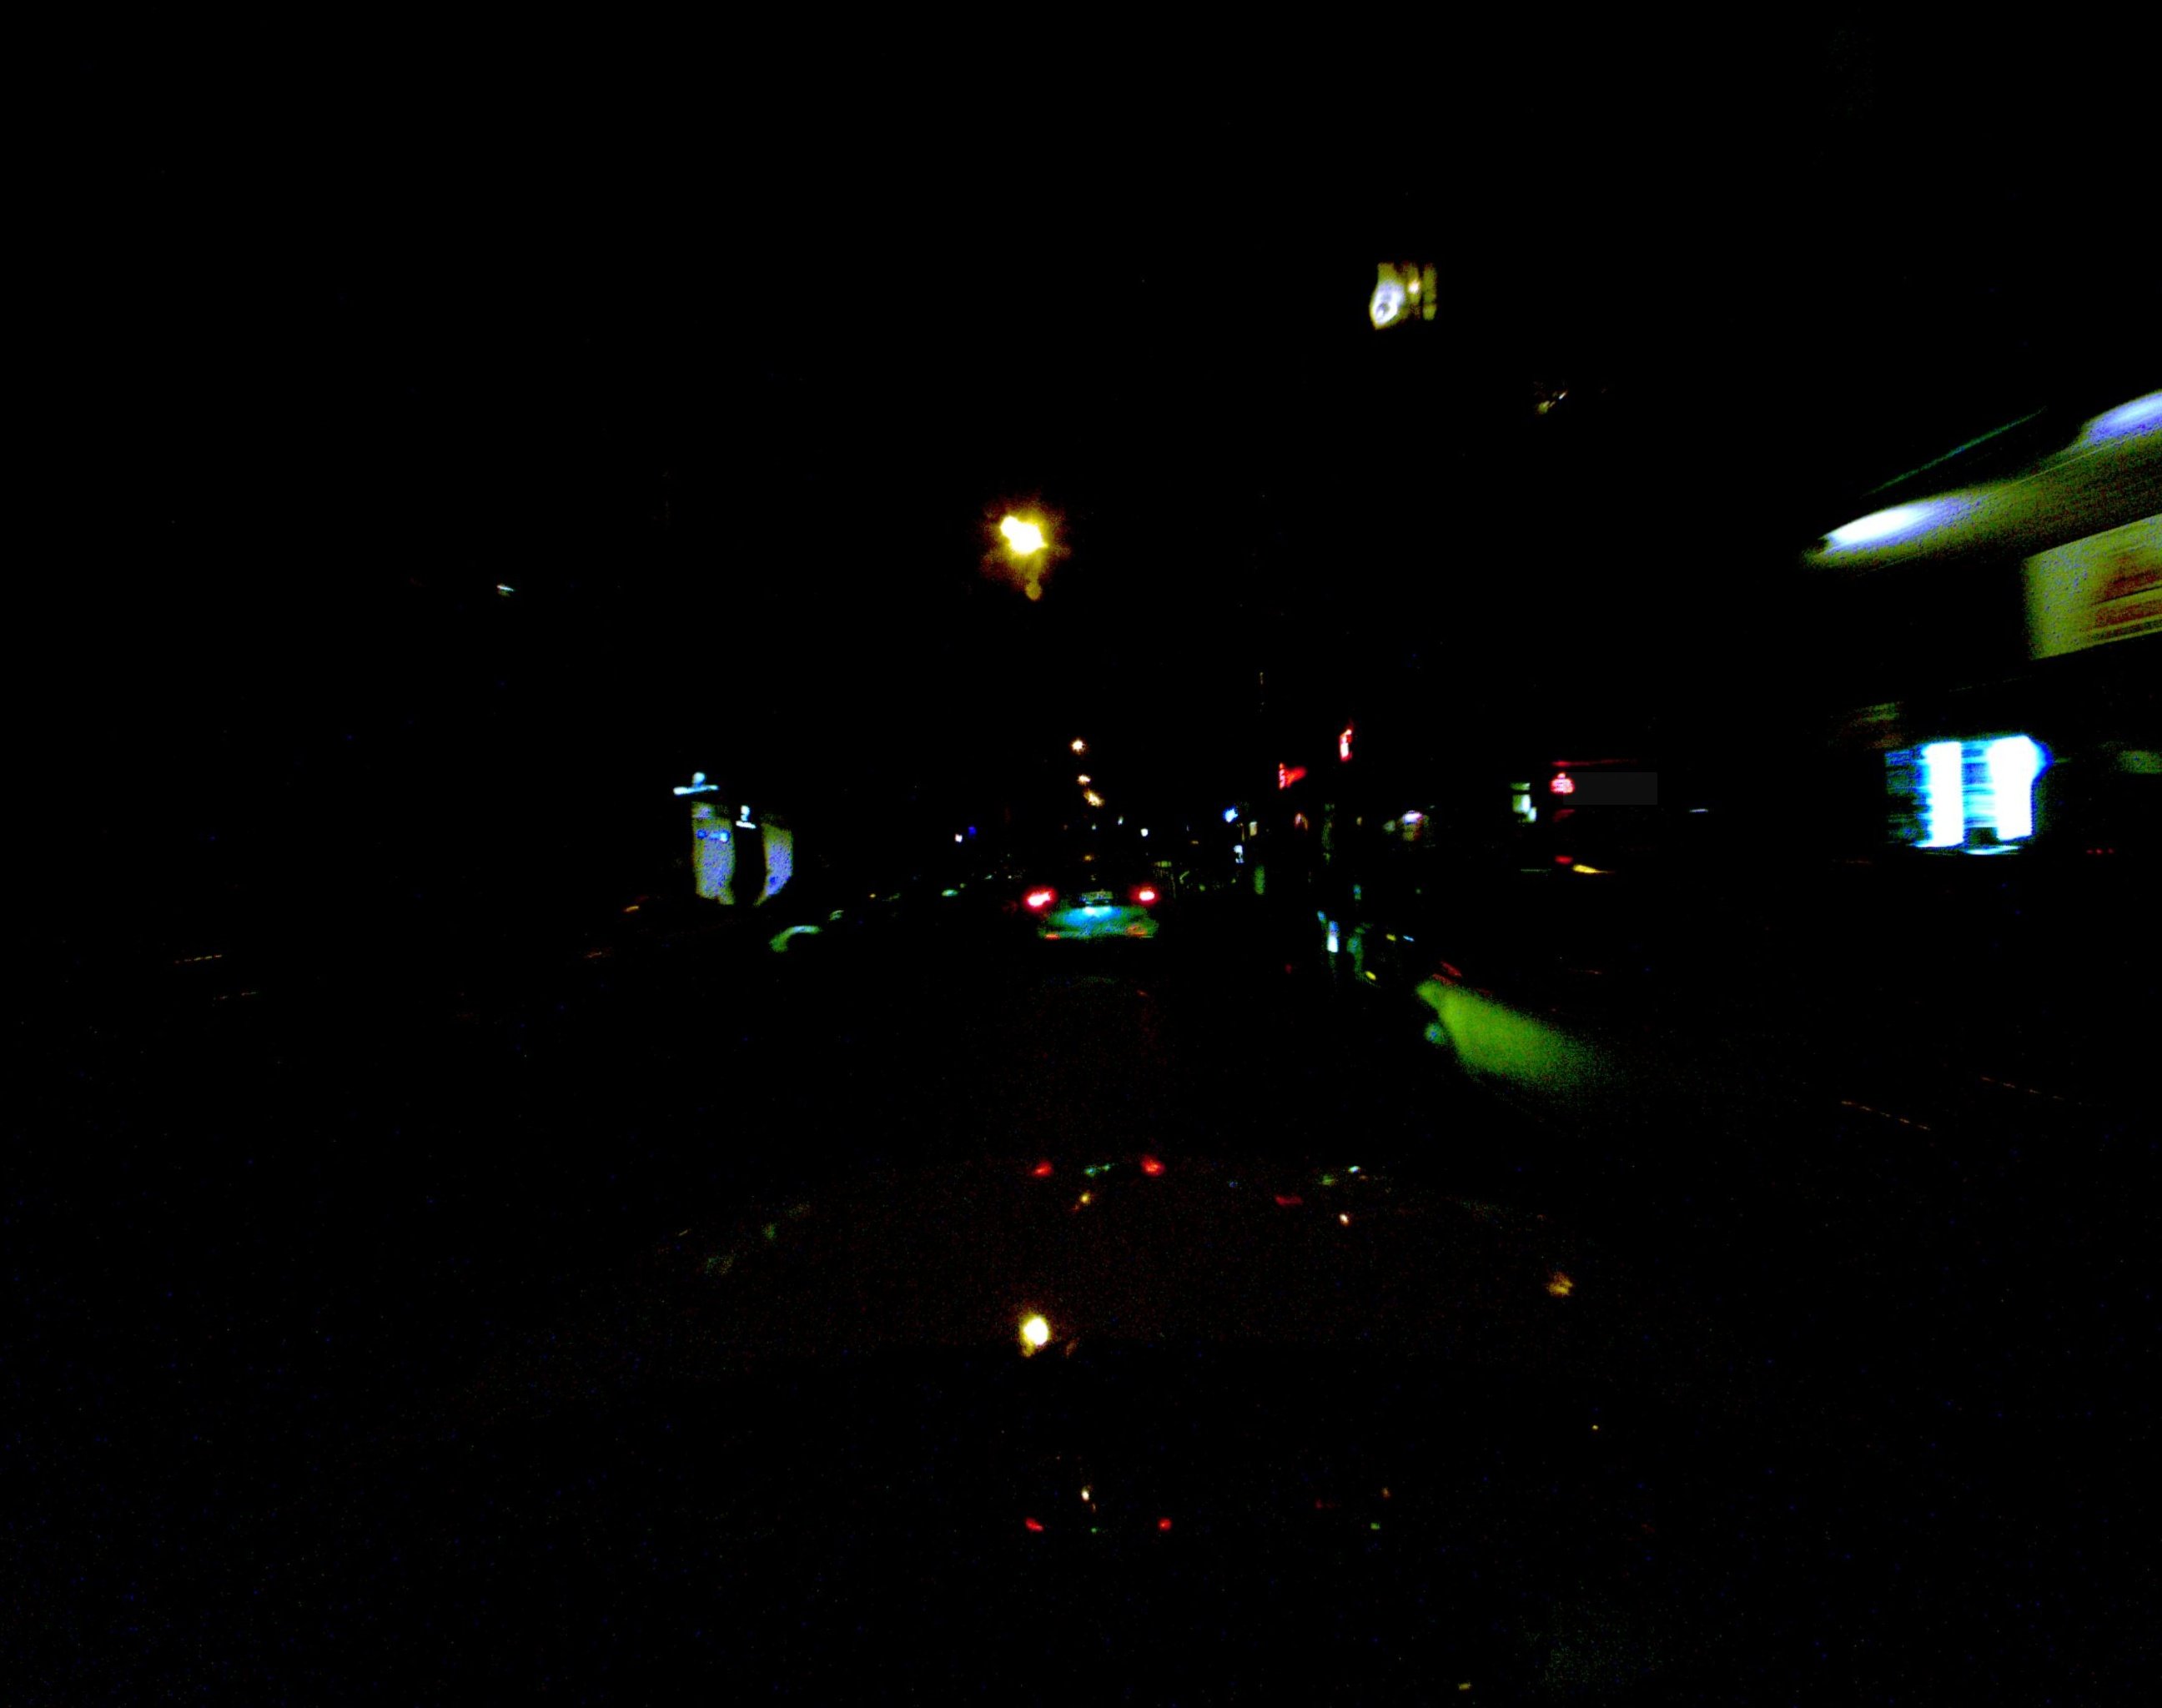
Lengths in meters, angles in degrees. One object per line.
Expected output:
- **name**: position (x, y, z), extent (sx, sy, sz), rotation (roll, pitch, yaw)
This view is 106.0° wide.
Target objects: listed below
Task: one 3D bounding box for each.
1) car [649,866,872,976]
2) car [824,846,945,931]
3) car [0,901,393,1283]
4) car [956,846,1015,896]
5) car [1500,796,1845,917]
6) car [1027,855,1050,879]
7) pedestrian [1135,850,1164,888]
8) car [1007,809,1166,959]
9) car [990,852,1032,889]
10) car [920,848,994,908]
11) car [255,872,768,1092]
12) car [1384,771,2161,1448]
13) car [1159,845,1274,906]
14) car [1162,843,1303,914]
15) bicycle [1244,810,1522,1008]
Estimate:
- **car**: position (-4.911, 0.952, 13.185), extent (1.987, 1.449, 4.000), rotation (-1, 0, 0)
- **car**: position (-4.722, 0.773, 20.162), extent (1.987, 1.862, 4.093), rotation (-1, 0, 0)
- **car**: position (-5.137, 1.012, 2.847), extent (1.684, 1.400, 4.318), rotation (-1, 0, 2)
- **car**: position (-4.078, 0.700, 35.241), extent (1.986, 2.014, 4.000), rotation (-1, -1, 1)
- **car**: position (10.662, 0.042, 15.000), extent (4.794, 1.922, 2.130), rotation (-2, 0, 0)
- **car**: position (-3.645, 1.105, 70.794), extent (1.743, 2.014, 4.000), rotation (-1, -1, 1)
- **pedestrian**: position (3.135, 0.690, 37.361), extent (1.222, 1.675, 0.697), rotation (-3, -2, 1)
- **car**: position (0.083, 0.410, 13.507), extent (2.116, 1.991, 4.600), rotation (-2, 0, 0)
- **car**: position (-3.946, 0.913, 46.683), extent (1.987, 2.014, 4.000), rotation (-1, -1, 1)
- **car**: position (-4.408, 0.820, 29.532), extent (1.987, 2.014, 4.000), rotation (-1, -1, 0)
- **car**: position (-4.978, 0.966, 8.149), extent (1.747, 1.449, 4.625), rotation (0, 0, 2)
- **car**: position (2.738, 0.598, 3.585), extent (1.586, 1.543, 3.421), rotation (-1, -1, 2)
- **car**: position (5.077, 0.818, 30.932), extent (3.972, 2.014, 2.001), rotation (-3, -2, 1)
- **car**: position (4.922, 0.798, 26.683), extent (3.995, 2.014, 1.989), rotation (-3, -2, -16)
- **bicycle**: position (2.878, 0.540, 8.060), extent (2.305, 1.639, 0.891), rotation (-6, -1, 12)
